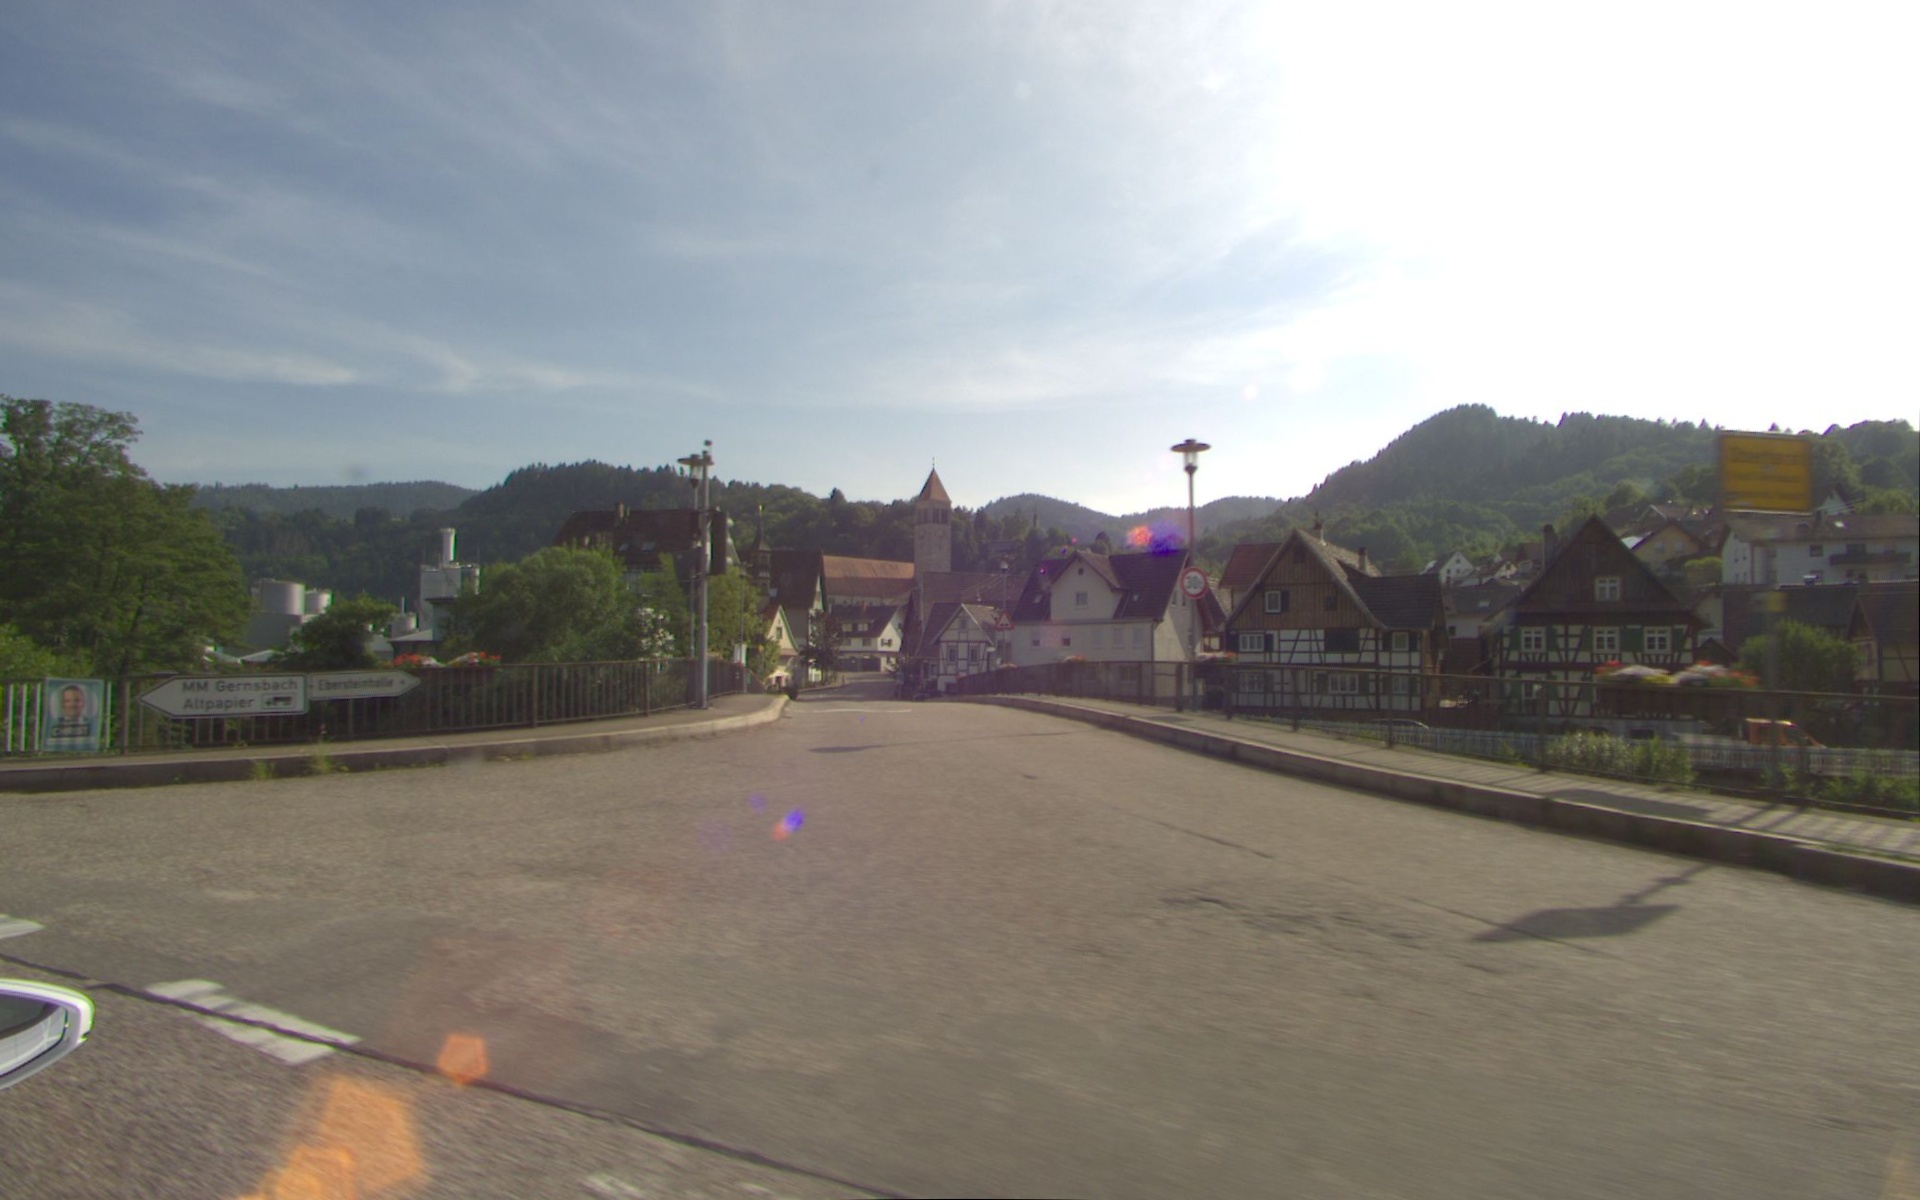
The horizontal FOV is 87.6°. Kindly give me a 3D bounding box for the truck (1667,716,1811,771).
[{"bbox_3d":[34.261,6.273,44.229,4.653,2.039,1.993,-2,-2,28],"label":"truck"}]
